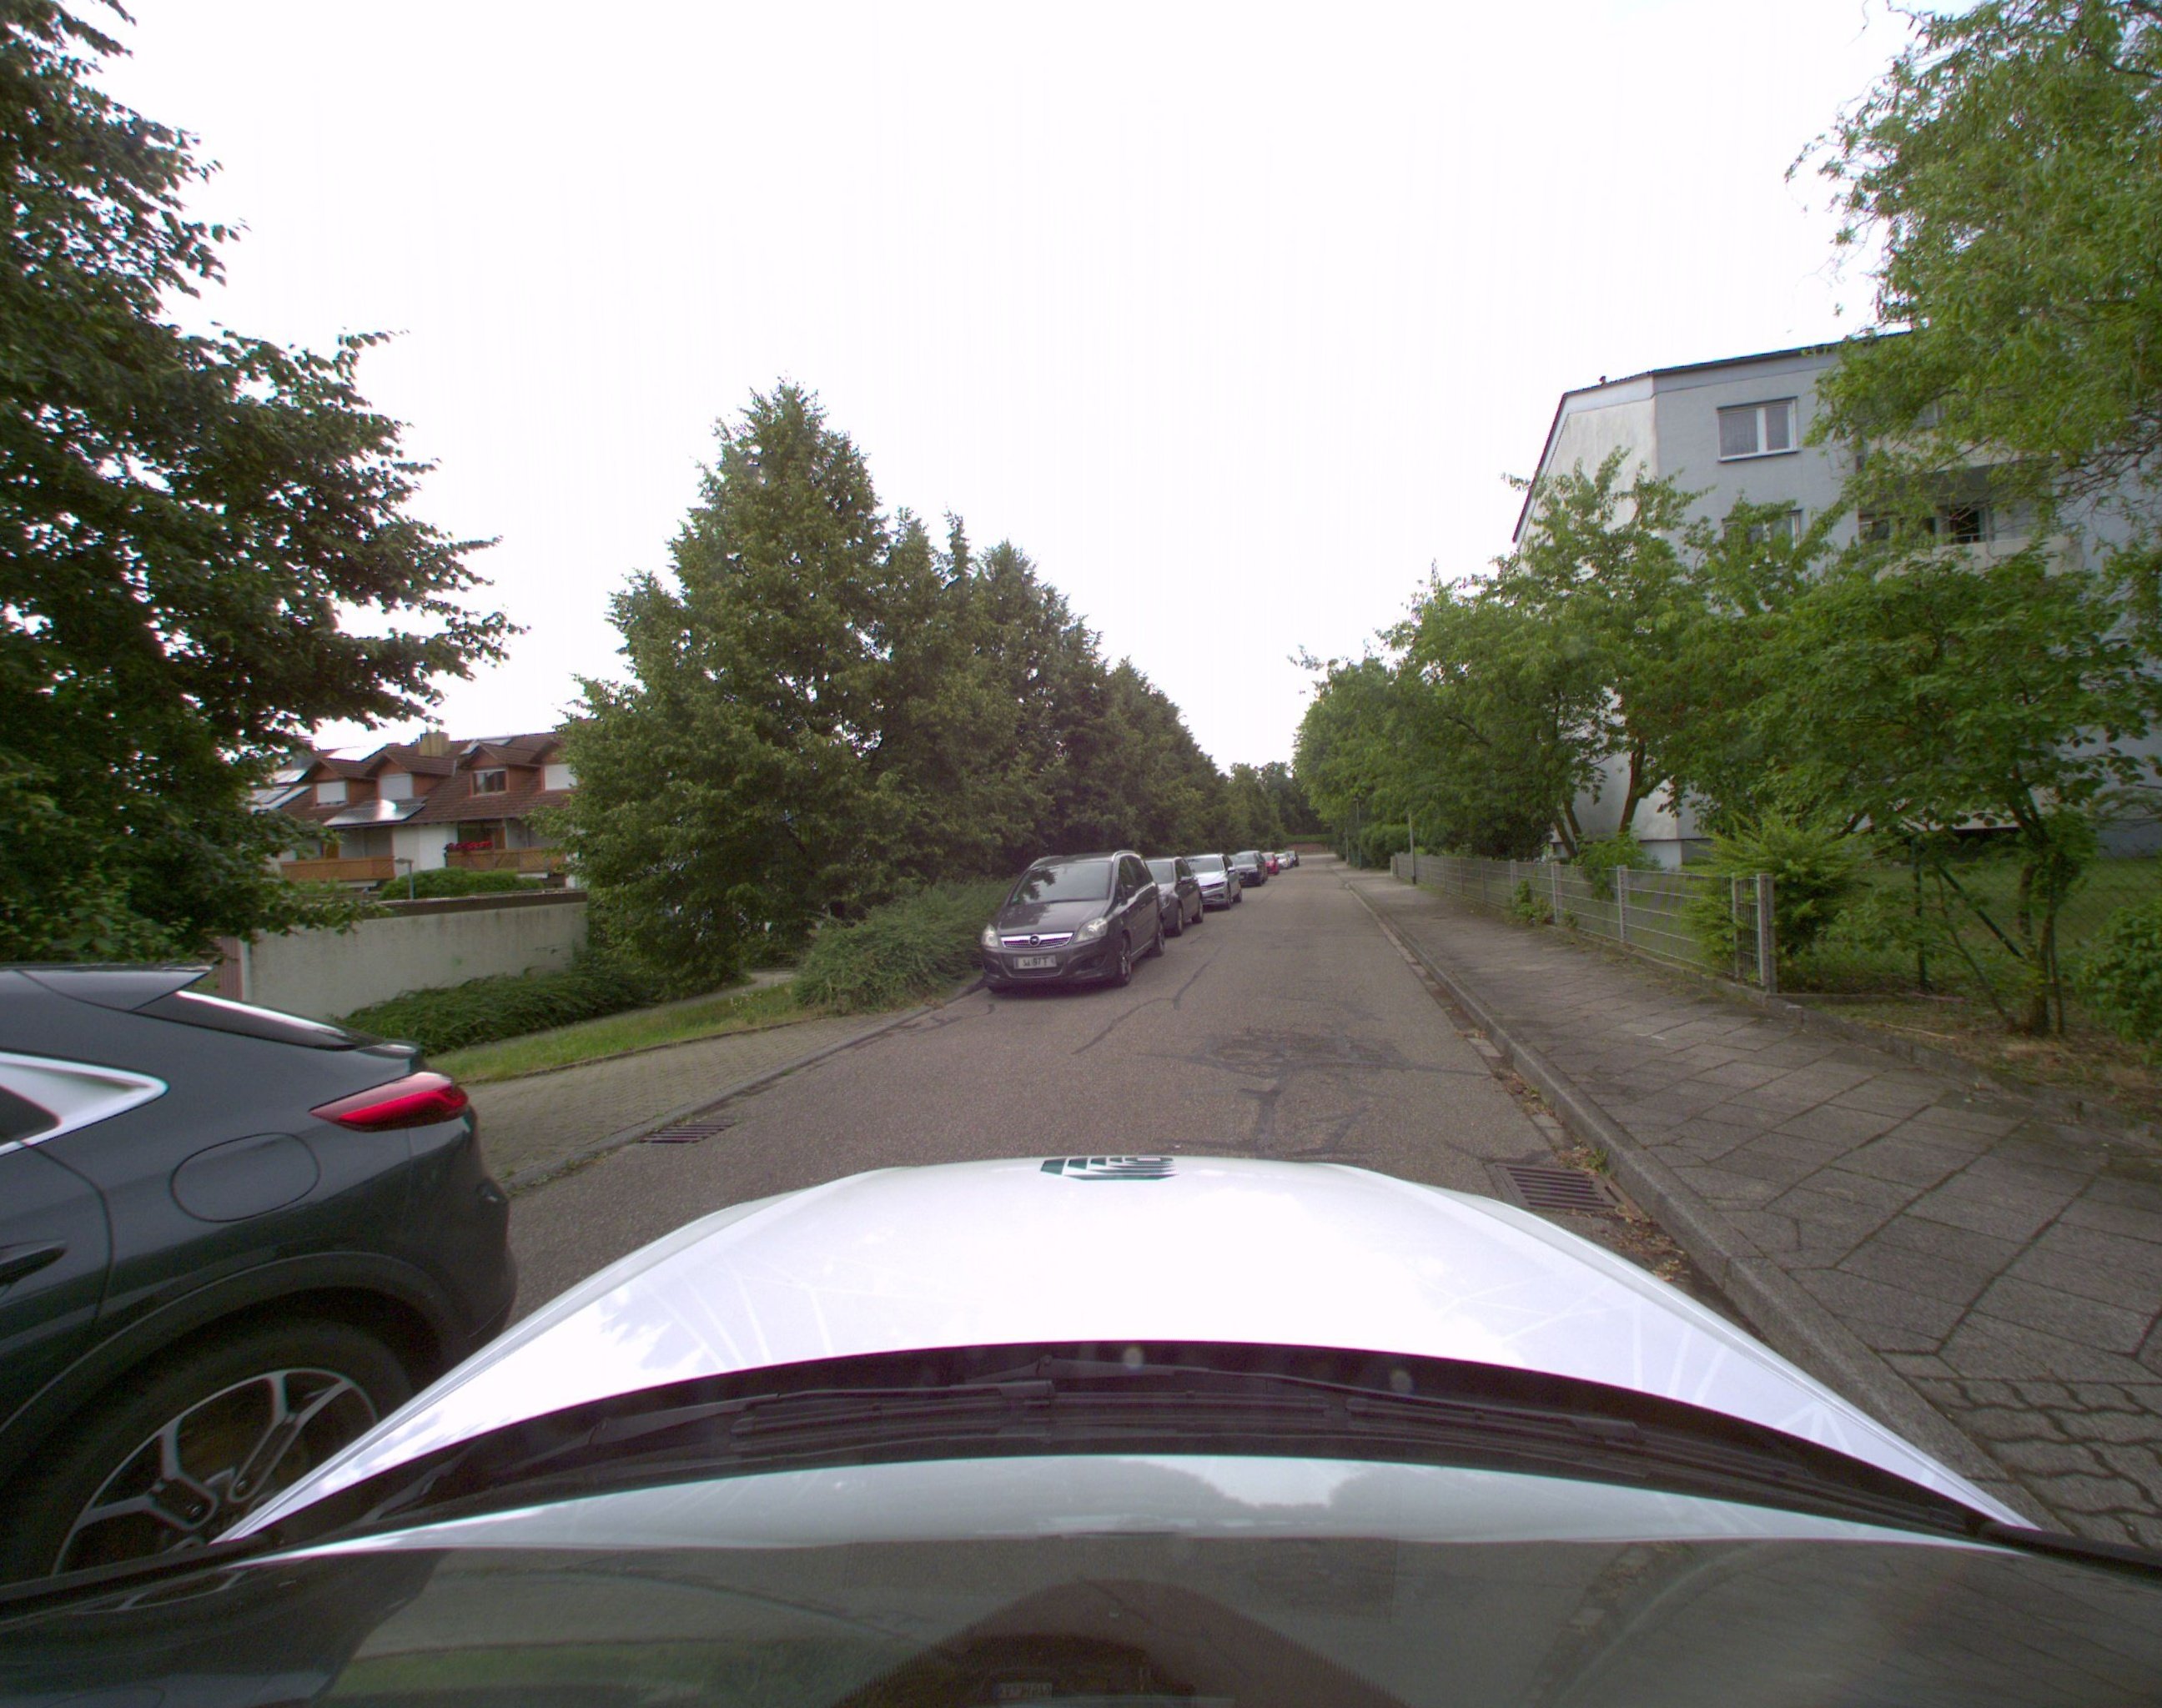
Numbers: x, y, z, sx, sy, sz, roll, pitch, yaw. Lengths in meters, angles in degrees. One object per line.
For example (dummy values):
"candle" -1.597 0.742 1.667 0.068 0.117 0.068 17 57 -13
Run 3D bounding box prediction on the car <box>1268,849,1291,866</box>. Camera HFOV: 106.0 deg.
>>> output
"car" 18.218 0.301 74.647 1.738 1.519 4.017 -2 0 16

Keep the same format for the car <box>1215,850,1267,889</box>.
"car" 6.970 0.616 35.146 1.738 1.425 4.018 -5 -1 16

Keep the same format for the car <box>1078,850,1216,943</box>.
"car" 1.490 0.764 16.487 1.743 1.478 4.325 -5 -1 18

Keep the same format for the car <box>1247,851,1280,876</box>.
"car" 11.950 0.614 53.136 1.738 1.425 4.018 -5 -1 16

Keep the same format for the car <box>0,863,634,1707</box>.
"car" -2.808 0.887 0.612 1.728 1.531 4.214 -5 -1 17

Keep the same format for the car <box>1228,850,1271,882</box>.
"car" 8.725 0.570 41.924 1.738 1.425 4.018 -5 -1 16

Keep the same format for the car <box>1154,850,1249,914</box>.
"car" 3.399 0.699 22.283 1.762 1.428 4.499 -5 -1 18

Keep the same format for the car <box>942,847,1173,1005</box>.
"car" -0.040 0.781 11.035 1.744 1.593 4.571 -5 -1 15

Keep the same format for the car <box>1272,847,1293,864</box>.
"car" 20.052 0.149 80.825 1.738 1.519 4.018 -3 0 16
